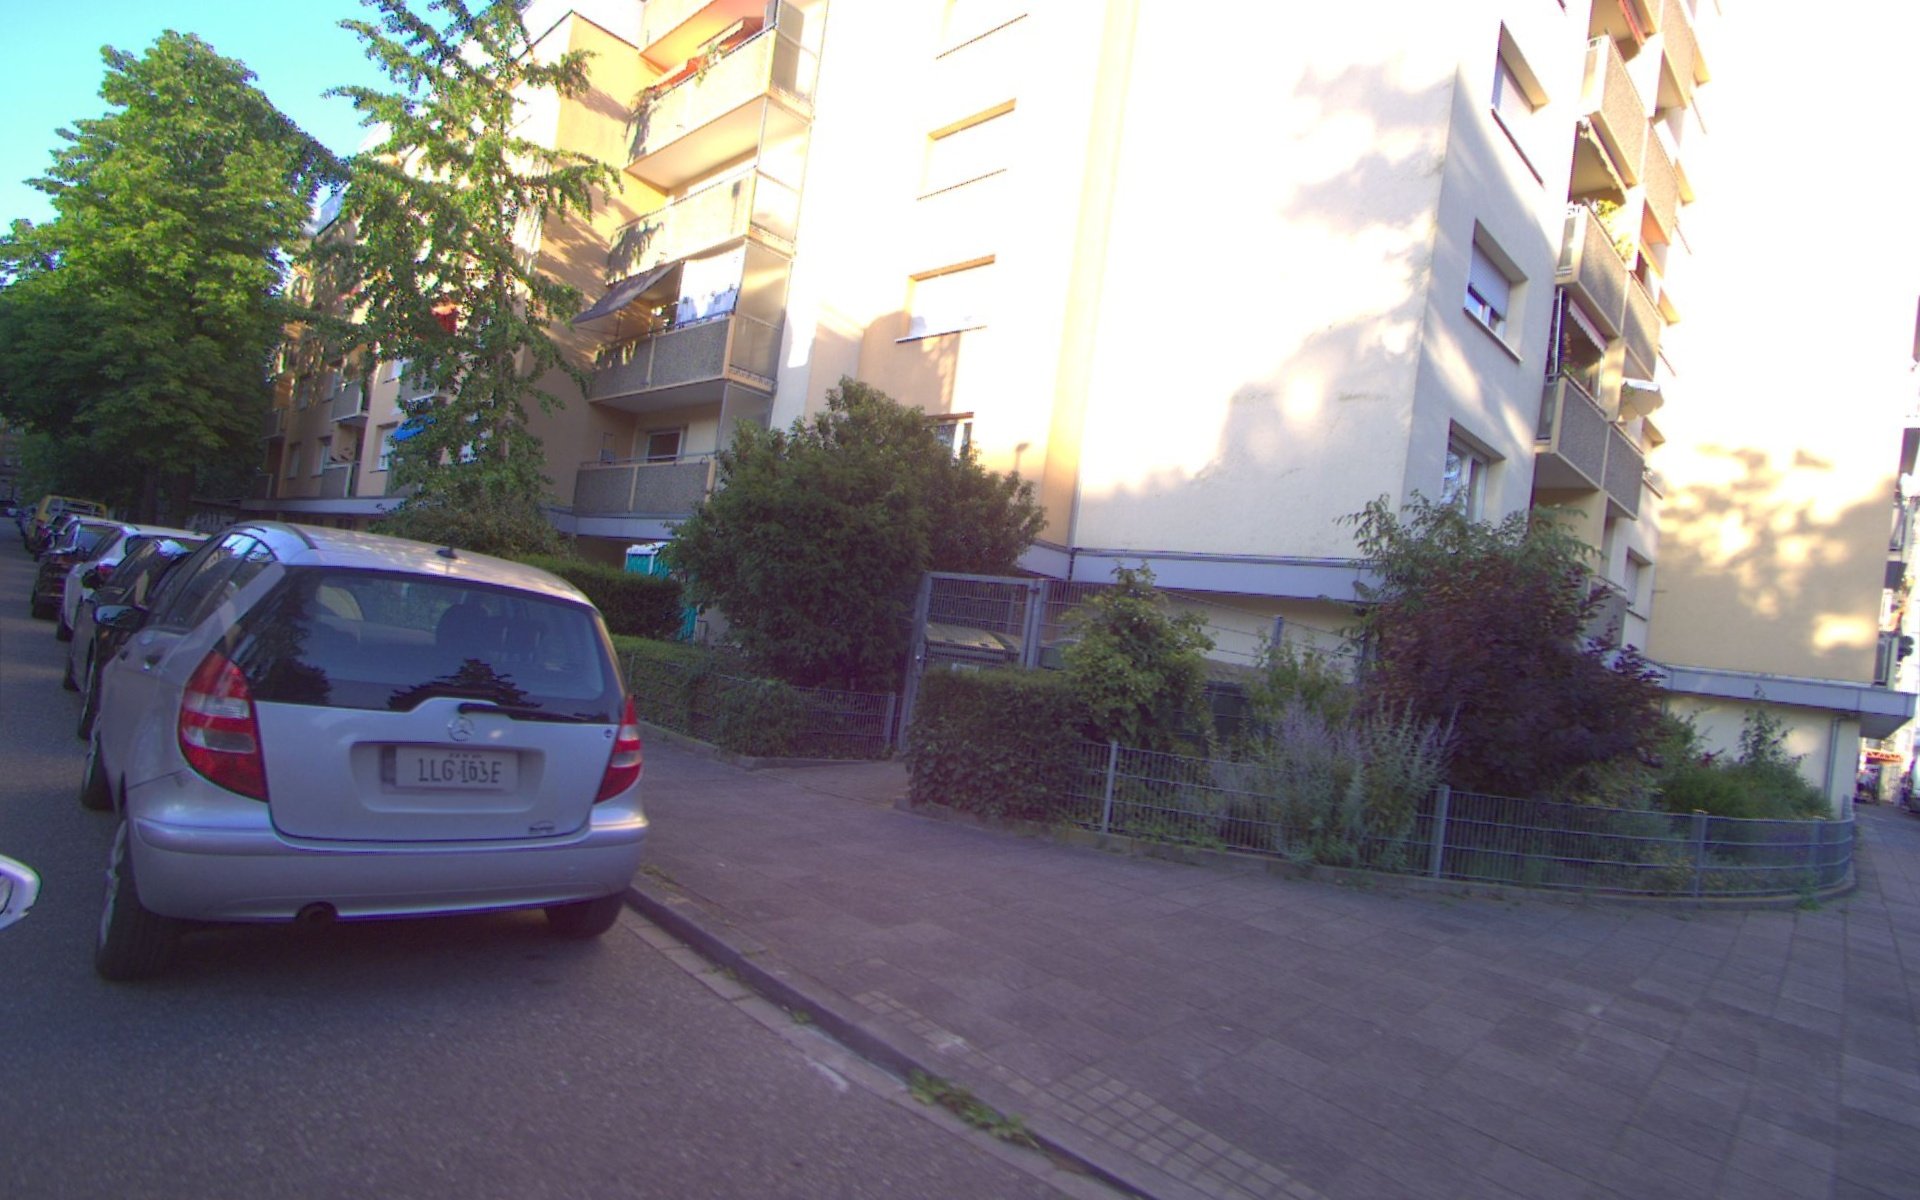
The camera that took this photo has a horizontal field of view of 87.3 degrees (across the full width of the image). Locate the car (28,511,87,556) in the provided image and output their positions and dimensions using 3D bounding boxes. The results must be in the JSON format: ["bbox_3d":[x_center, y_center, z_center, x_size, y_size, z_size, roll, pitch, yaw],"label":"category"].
[{"bbox_3d":[-37.330,-2.760,41.597,1.559,1.467,3.410,9,-2,-44],"label":"car"}]

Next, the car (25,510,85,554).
[{"bbox_3d":[-40.664,-3.075,45.177,1.718,1.537,3.975,9,-2,-44],"label":"car"}]

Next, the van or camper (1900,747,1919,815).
[{"bbox_3d":[39.572,7.356,37.730,6.021,2.519,2.187,7,-1,43],"label":"van or camper"}]

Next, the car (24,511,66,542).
[{"bbox_3d":[-58.343,-4.689,64.136,1.755,1.622,3.826,9,-3,-44],"label":"car"}]

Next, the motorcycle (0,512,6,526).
[{"bbox_3d":[-93.782,-7.975,97.373,0.568,1.356,1.933,8,-1,36],"label":"motorcycle"}]

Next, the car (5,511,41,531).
[{"bbox_3d":[-97.749,-8.245,104.950,2.716,1.543,1.682,8,-2,22],"label":"car"}]

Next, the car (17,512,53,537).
[{"bbox_3d":[-66.549,-5.418,72.350,1.691,1.493,4.066,9,-3,-44],"label":"car"}]

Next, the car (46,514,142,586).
[{"bbox_3d":[-22.943,-1.353,26.618,1.606,1.528,3.434,9,-2,-44],"label":"car"}]

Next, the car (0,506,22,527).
[{"bbox_3d":[-101.242,-8.929,106.372,2.959,1.803,1.681,8,-2,22],"label":"car"}]

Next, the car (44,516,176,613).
[{"bbox_3d":[-16.710,-0.735,19.705,1.606,1.478,4.004,9,-2,-44],"label":"car"}]

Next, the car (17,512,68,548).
[{"bbox_3d":[-47.716,-3.646,52.315,1.755,1.459,3.955,9,-2,-44],"label":"car"}]

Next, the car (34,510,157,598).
[{"bbox_3d":[-19.905,-1.092,23.109,1.788,1.581,4.141,9,-2,-44],"label":"car"}]

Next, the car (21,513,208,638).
[{"bbox_3d":[-13.116,-0.443,15.494,1.805,1.433,4.568,9,-2,-44],"label":"car"}]

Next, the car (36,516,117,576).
[{"bbox_3d":[-26.485,-1.634,30.144,1.602,1.398,3.952,9,-2,-42],"label":"car"}]

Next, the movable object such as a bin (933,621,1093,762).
[{"bbox_3d":[0.634,1.091,11.953,1.282,1.432,1.182,7,-1,42],"label":"movable object such as a bin"}]

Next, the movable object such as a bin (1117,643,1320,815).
[{"bbox_3d":[2.739,1.340,10.683,1.560,1.488,1.182,7,-1,42],"label":"movable object such as a bin"}]

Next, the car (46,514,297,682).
[{"bbox_3d":[-9.119,-0.085,11.507,1.805,1.433,3.848,9,-2,-43],"label":"car"}]

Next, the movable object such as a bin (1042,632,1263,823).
[{"bbox_3d":[1.830,1.181,9.629,1.560,1.488,1.122,7,-1,42],"label":"movable object such as a bin"}]

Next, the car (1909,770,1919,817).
[{"bbox_3d":[36.712,7.284,35.640,4.304,1.679,1.736,7,-2,43],"label":"car"}]

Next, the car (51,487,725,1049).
[{"bbox_3d":[-3.011,0.443,4.857,1.805,1.594,3.836,9,-2,-44],"label":"car"}]

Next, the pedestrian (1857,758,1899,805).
[{"bbox_3d":[39.866,7.866,43.707,1.148,1.799,0.869,4,0,36],"label":"pedestrian"}]

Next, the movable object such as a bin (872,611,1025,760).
[{"bbox_3d":[-0.135,0.940,11.199,1.282,1.432,0.875,7,-1,42],"label":"movable object such as a bin"}]

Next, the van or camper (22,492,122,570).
[{"bbox_3d":[-30.035,-2.371,33.966,2.060,2.120,5.025,9,-2,-45],"label":"van or camper"}]

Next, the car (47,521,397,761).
[{"bbox_3d":[-6.270,0.239,8.351,1.713,1.435,3.977,9,-2,-44],"label":"car"}]
